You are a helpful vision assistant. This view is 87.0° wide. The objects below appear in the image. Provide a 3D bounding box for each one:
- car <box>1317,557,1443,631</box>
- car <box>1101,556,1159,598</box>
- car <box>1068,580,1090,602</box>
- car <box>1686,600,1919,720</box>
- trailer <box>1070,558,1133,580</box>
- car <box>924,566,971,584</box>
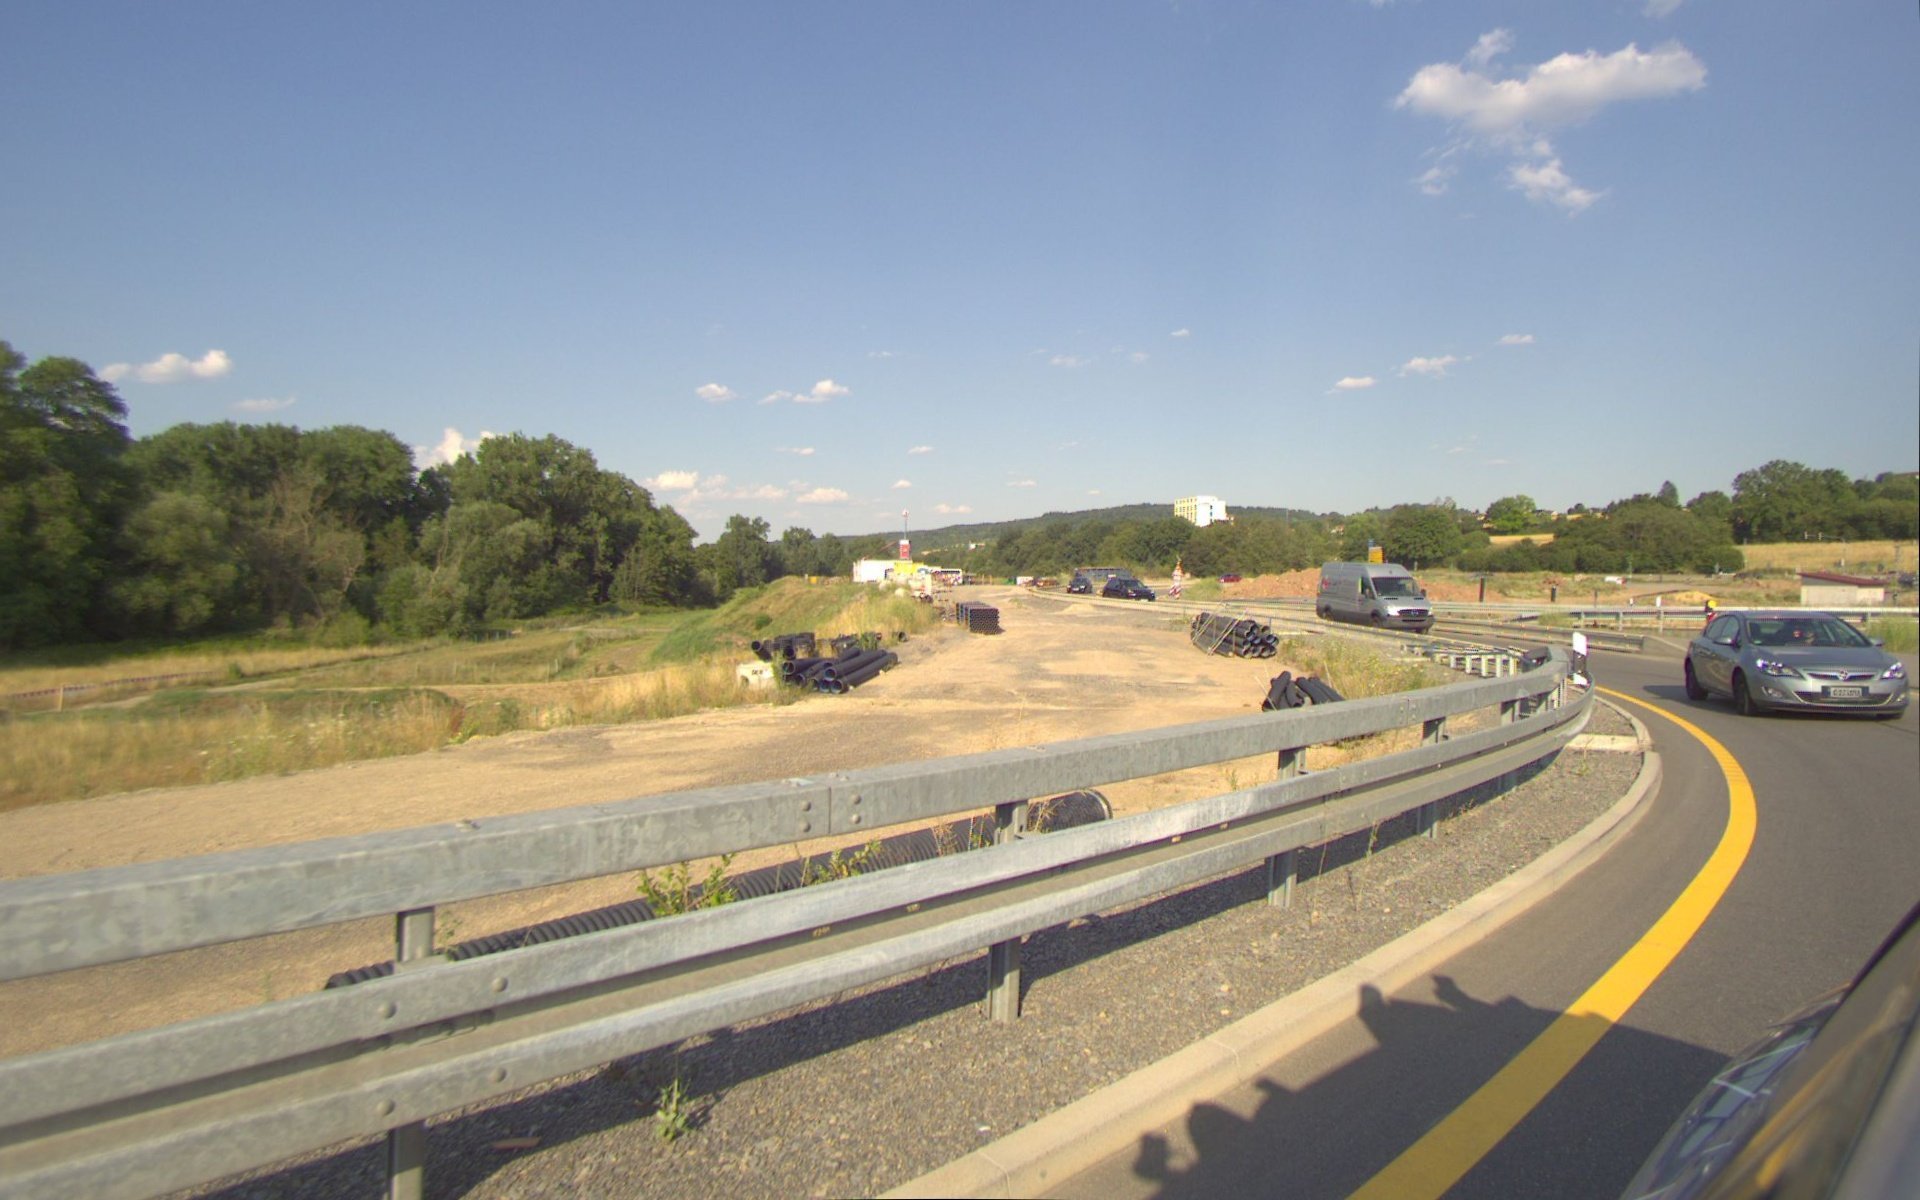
[{"bbox_3d":[15.746,-0.334,38.352,1.879,2.531,5.806,0,3,-5],"label":"car"},{"bbox_3d":[10.249,-1.460,61.403,1.837,2.432,4.010,-1,3,-17],"label":"car"},{"bbox_3d":[10.834,-0.828,91.901,1.612,1.808,4.114,0,3,12],"label":"car"},{"bbox_3d":[12.285,0.768,14.929,1.730,1.503,4.216,-1,0,24],"label":"car"},{"bbox_3d":[16.409,-3.597,116.938,7.093,2.444,3.013,-2,2,-36],"label":"trailer"},{"bbox_3d":[-1.519,-3.079,122.654,5.208,2.104,2.493,-1,2,-15],"label":"car"}]
